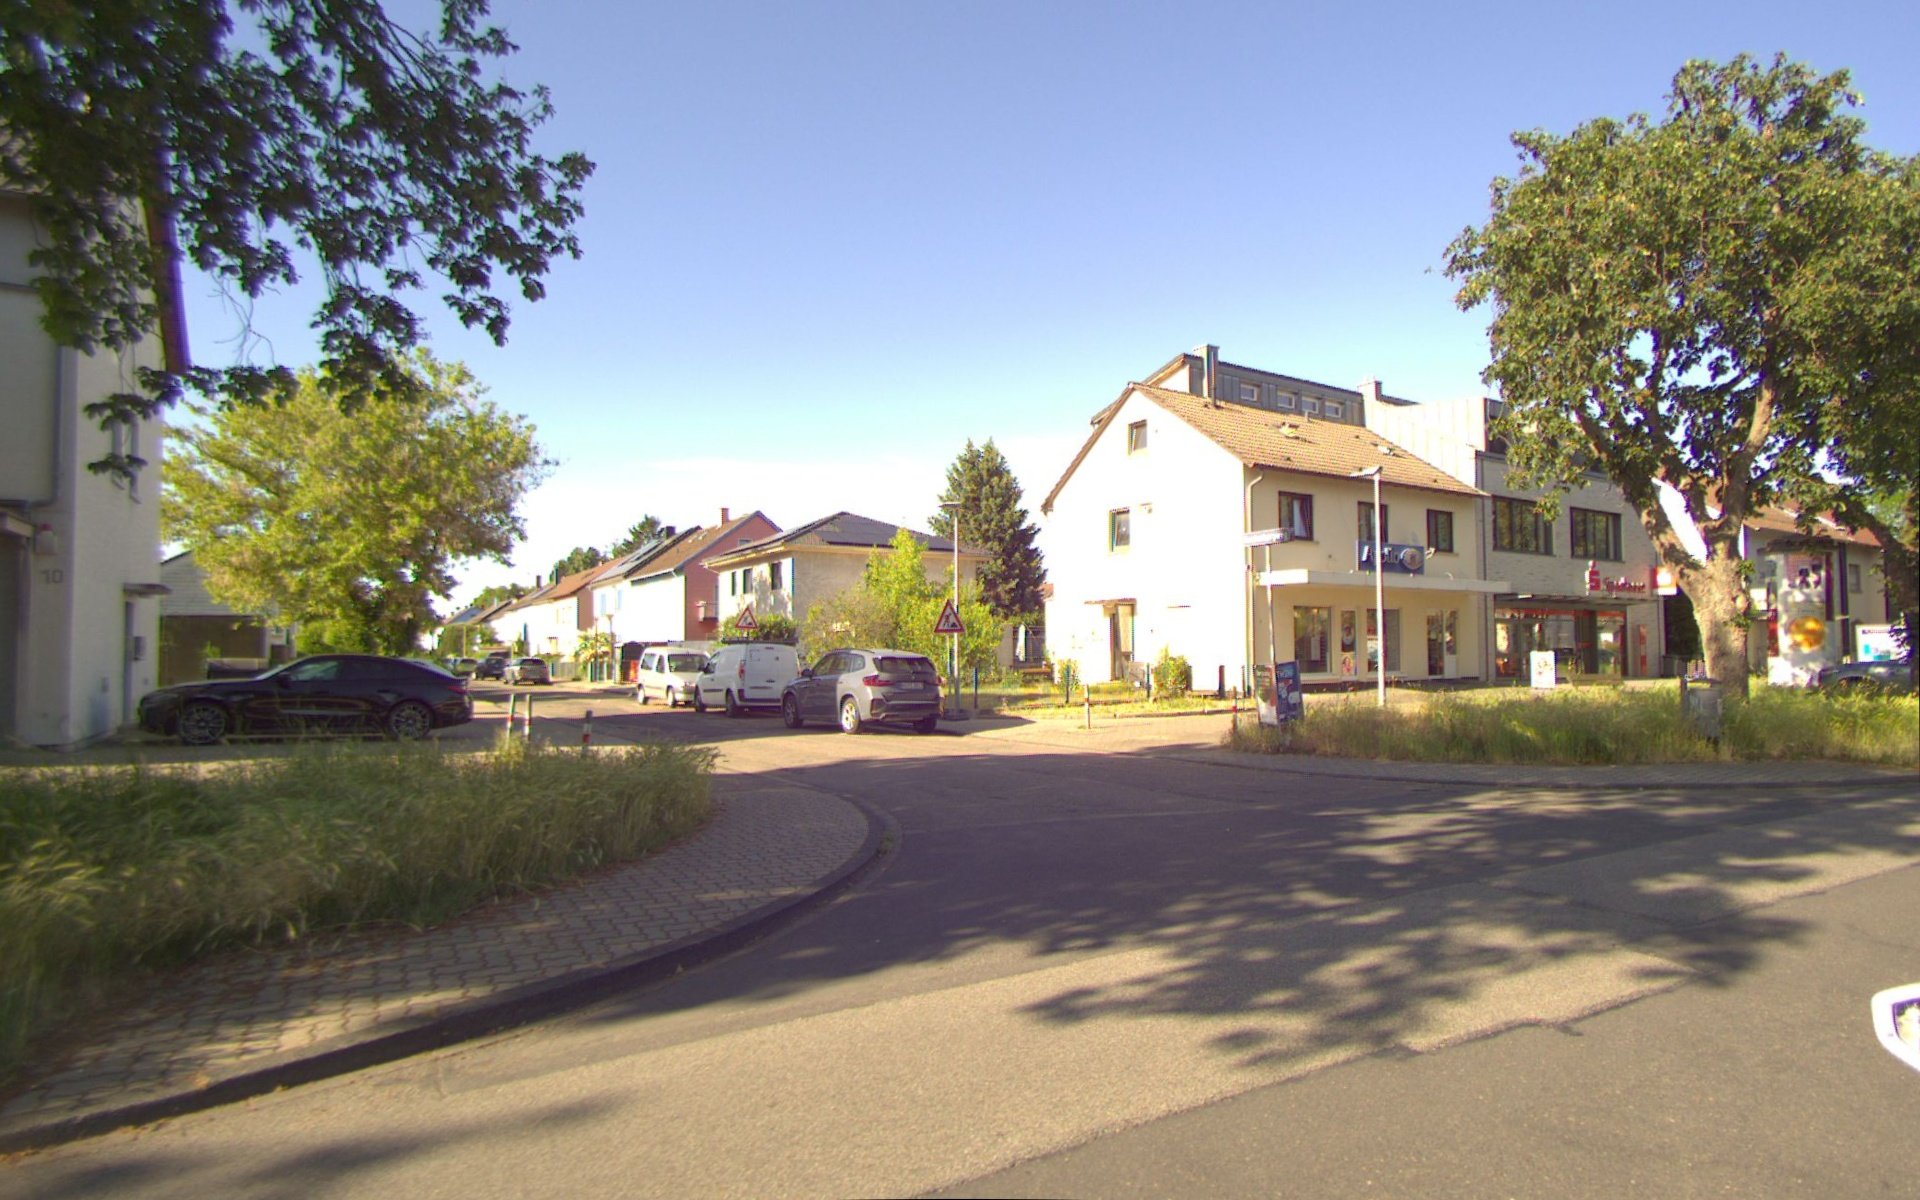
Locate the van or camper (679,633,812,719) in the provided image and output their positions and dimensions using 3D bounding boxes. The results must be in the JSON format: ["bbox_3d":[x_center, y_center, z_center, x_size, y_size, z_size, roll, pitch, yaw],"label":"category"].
[{"bbox_3d":[-5.722,1.935,26.364,1.978,2.040,4.648,2,-3,-32],"label":"van or camper"}]

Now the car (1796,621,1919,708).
[{"bbox_3d":[21.101,1.417,21.148,1.979,1.751,5.031,2,0,-33],"label":"car"}]

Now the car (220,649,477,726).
[{"bbox_3d":[-13.371,1.922,22.171,4.623,1.547,1.860,4,-5,-35],"label":"car"}]

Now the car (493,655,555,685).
[{"bbox_3d":[-23.509,3.748,54.094,1.982,1.504,4.859,2,-3,-37],"label":"car"}]

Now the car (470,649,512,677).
[{"bbox_3d":[-30.545,4.086,65.354,1.977,1.601,4.870,3,-3,-30],"label":"car"}]

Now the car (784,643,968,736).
[{"bbox_3d":[-1.786,1.756,20.159,1.980,1.659,3.962,2,-5,-35],"label":"car"}]

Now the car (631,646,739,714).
[{"bbox_3d":[-8.354,2.350,30.323,1.980,1.854,3.963,2,-2,-34],"label":"car"}]

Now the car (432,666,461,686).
[{"bbox_3d":[-45.261,6.661,88.490,1.977,1.601,4.871,1,-3,-30],"label":"car"}]

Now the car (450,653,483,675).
[{"bbox_3d":[-37.717,4.862,76.685,1.977,1.601,4.871,1,-3,-30],"label":"car"}]

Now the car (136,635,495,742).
[{"bbox_3d":[-10.797,1.507,17.181,4.861,1.583,1.981,4,-5,-35],"label":"car"}]
